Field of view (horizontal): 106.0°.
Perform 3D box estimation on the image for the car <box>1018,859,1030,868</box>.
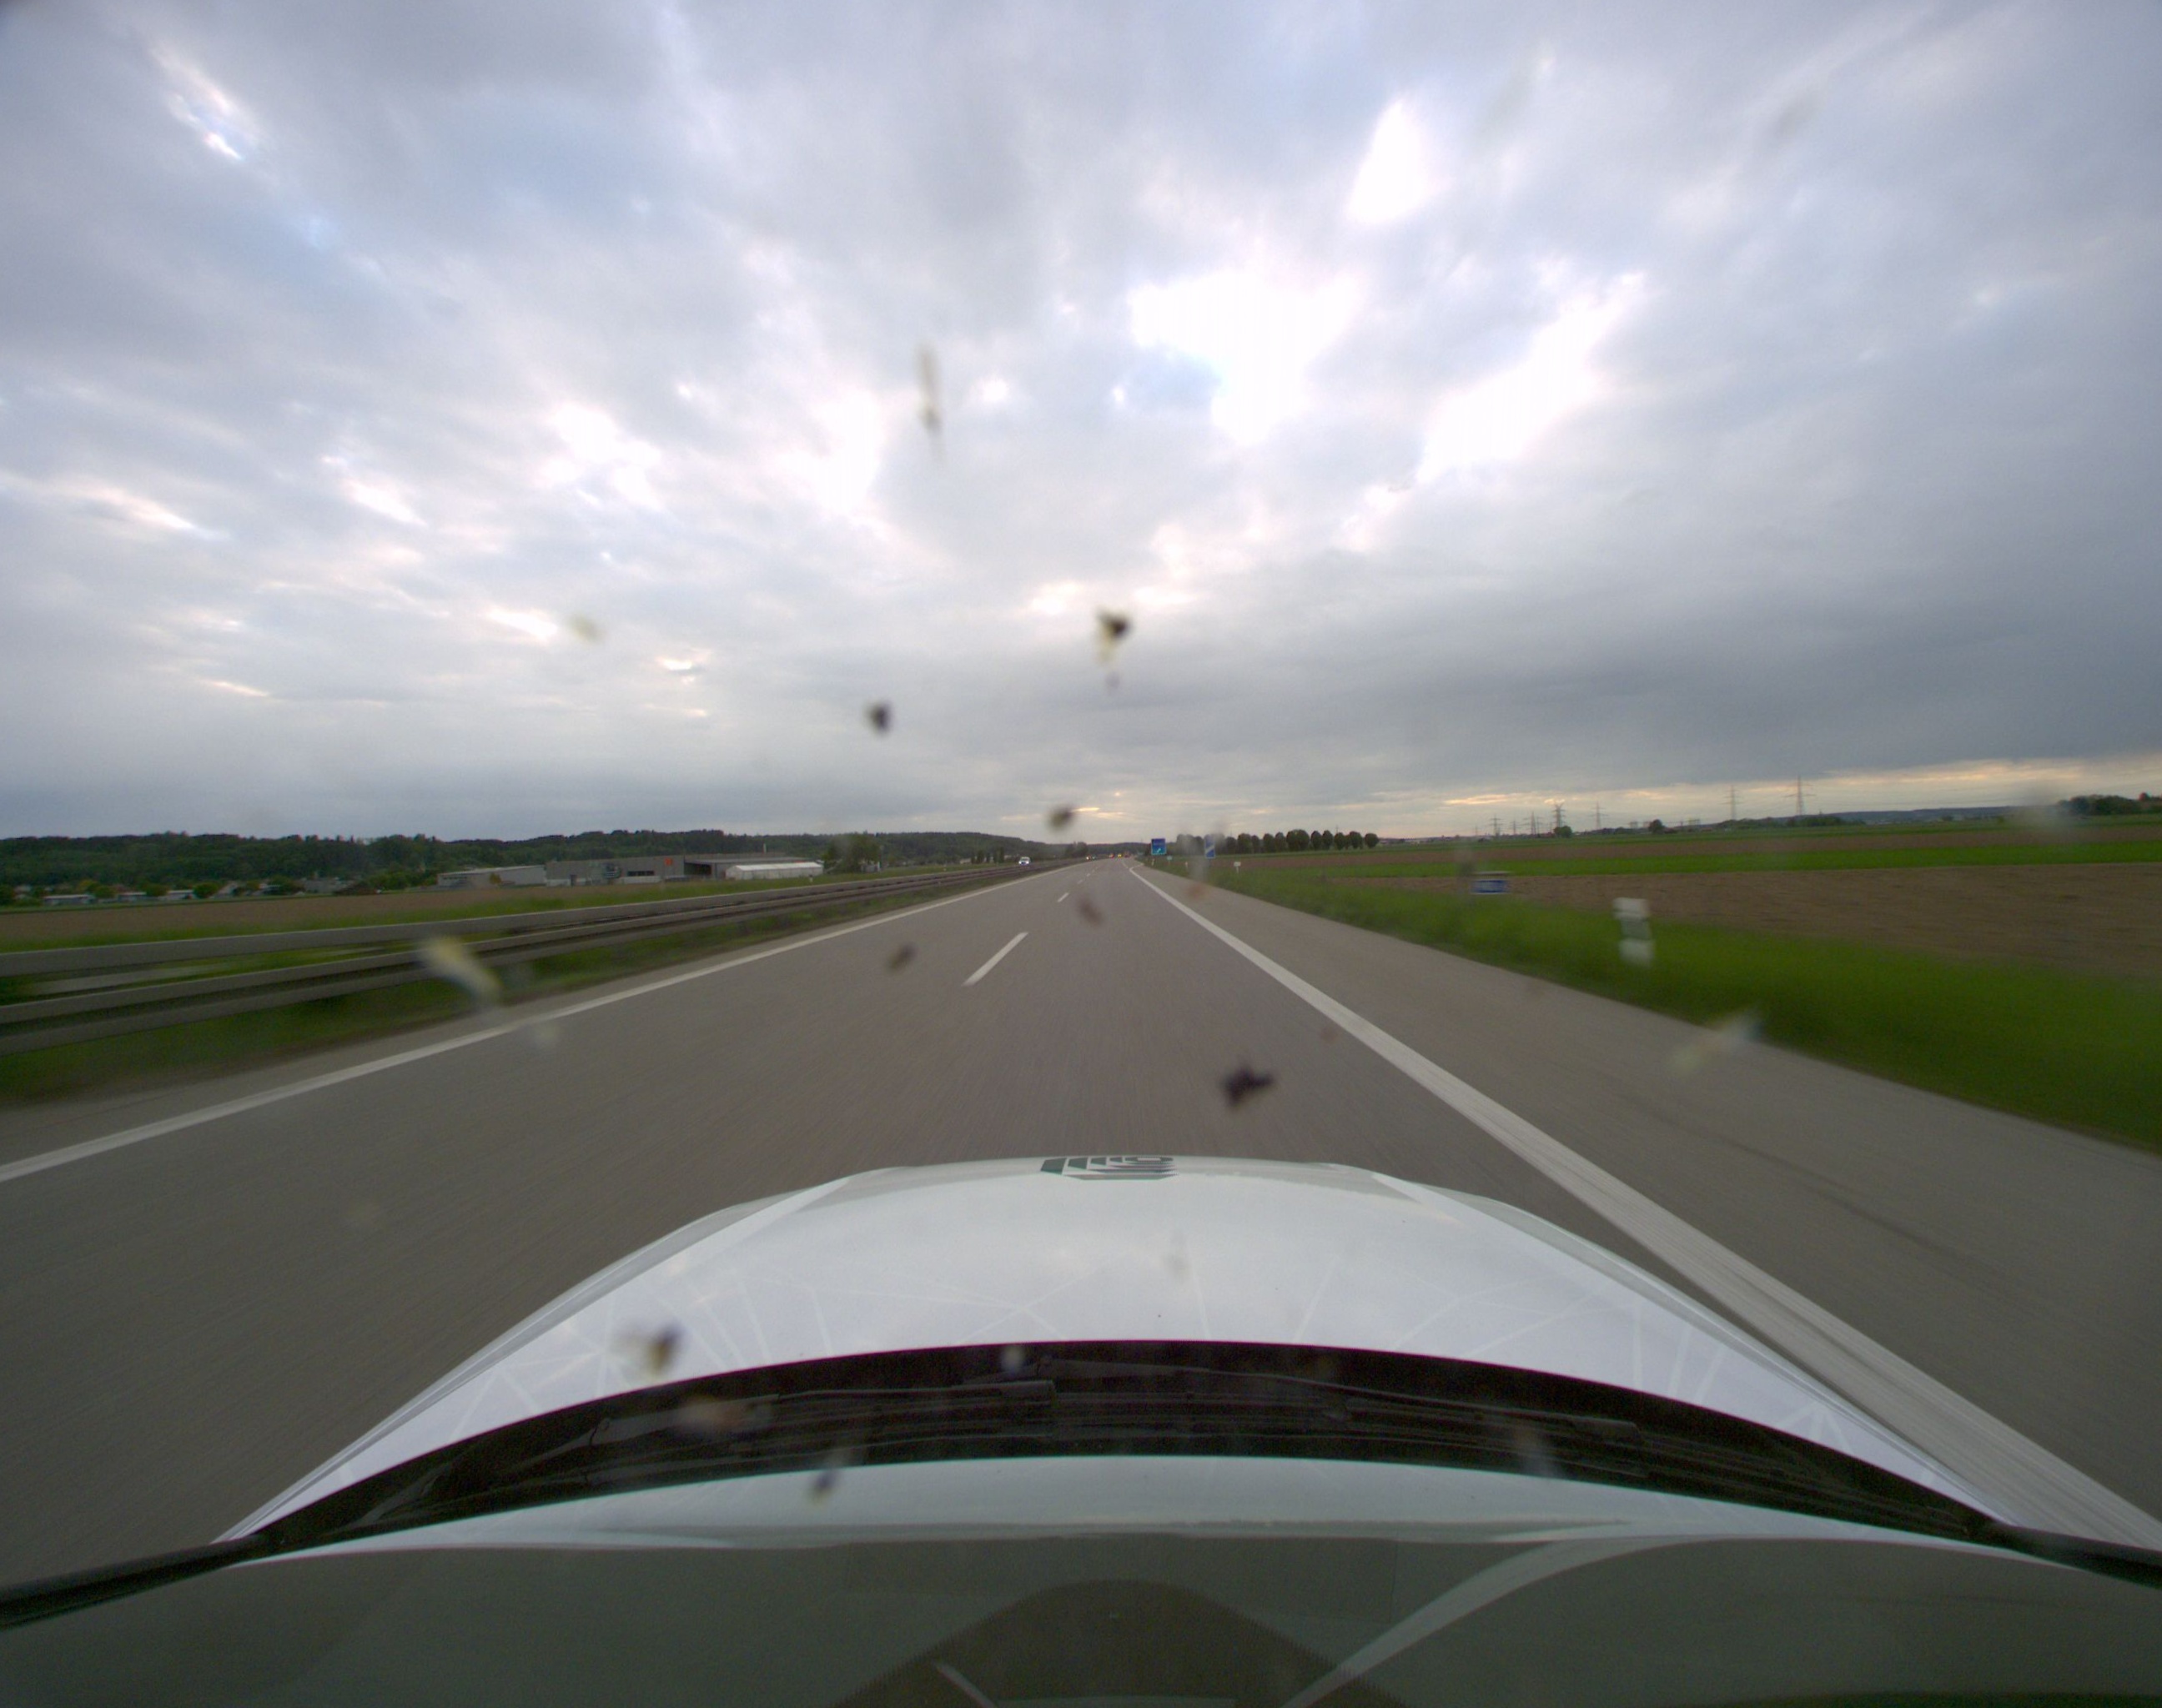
[{"bbox_3d":[-11.018,1.780,157.631,1.986,1.765,4.953,0,0,1],"label":"car"}]
